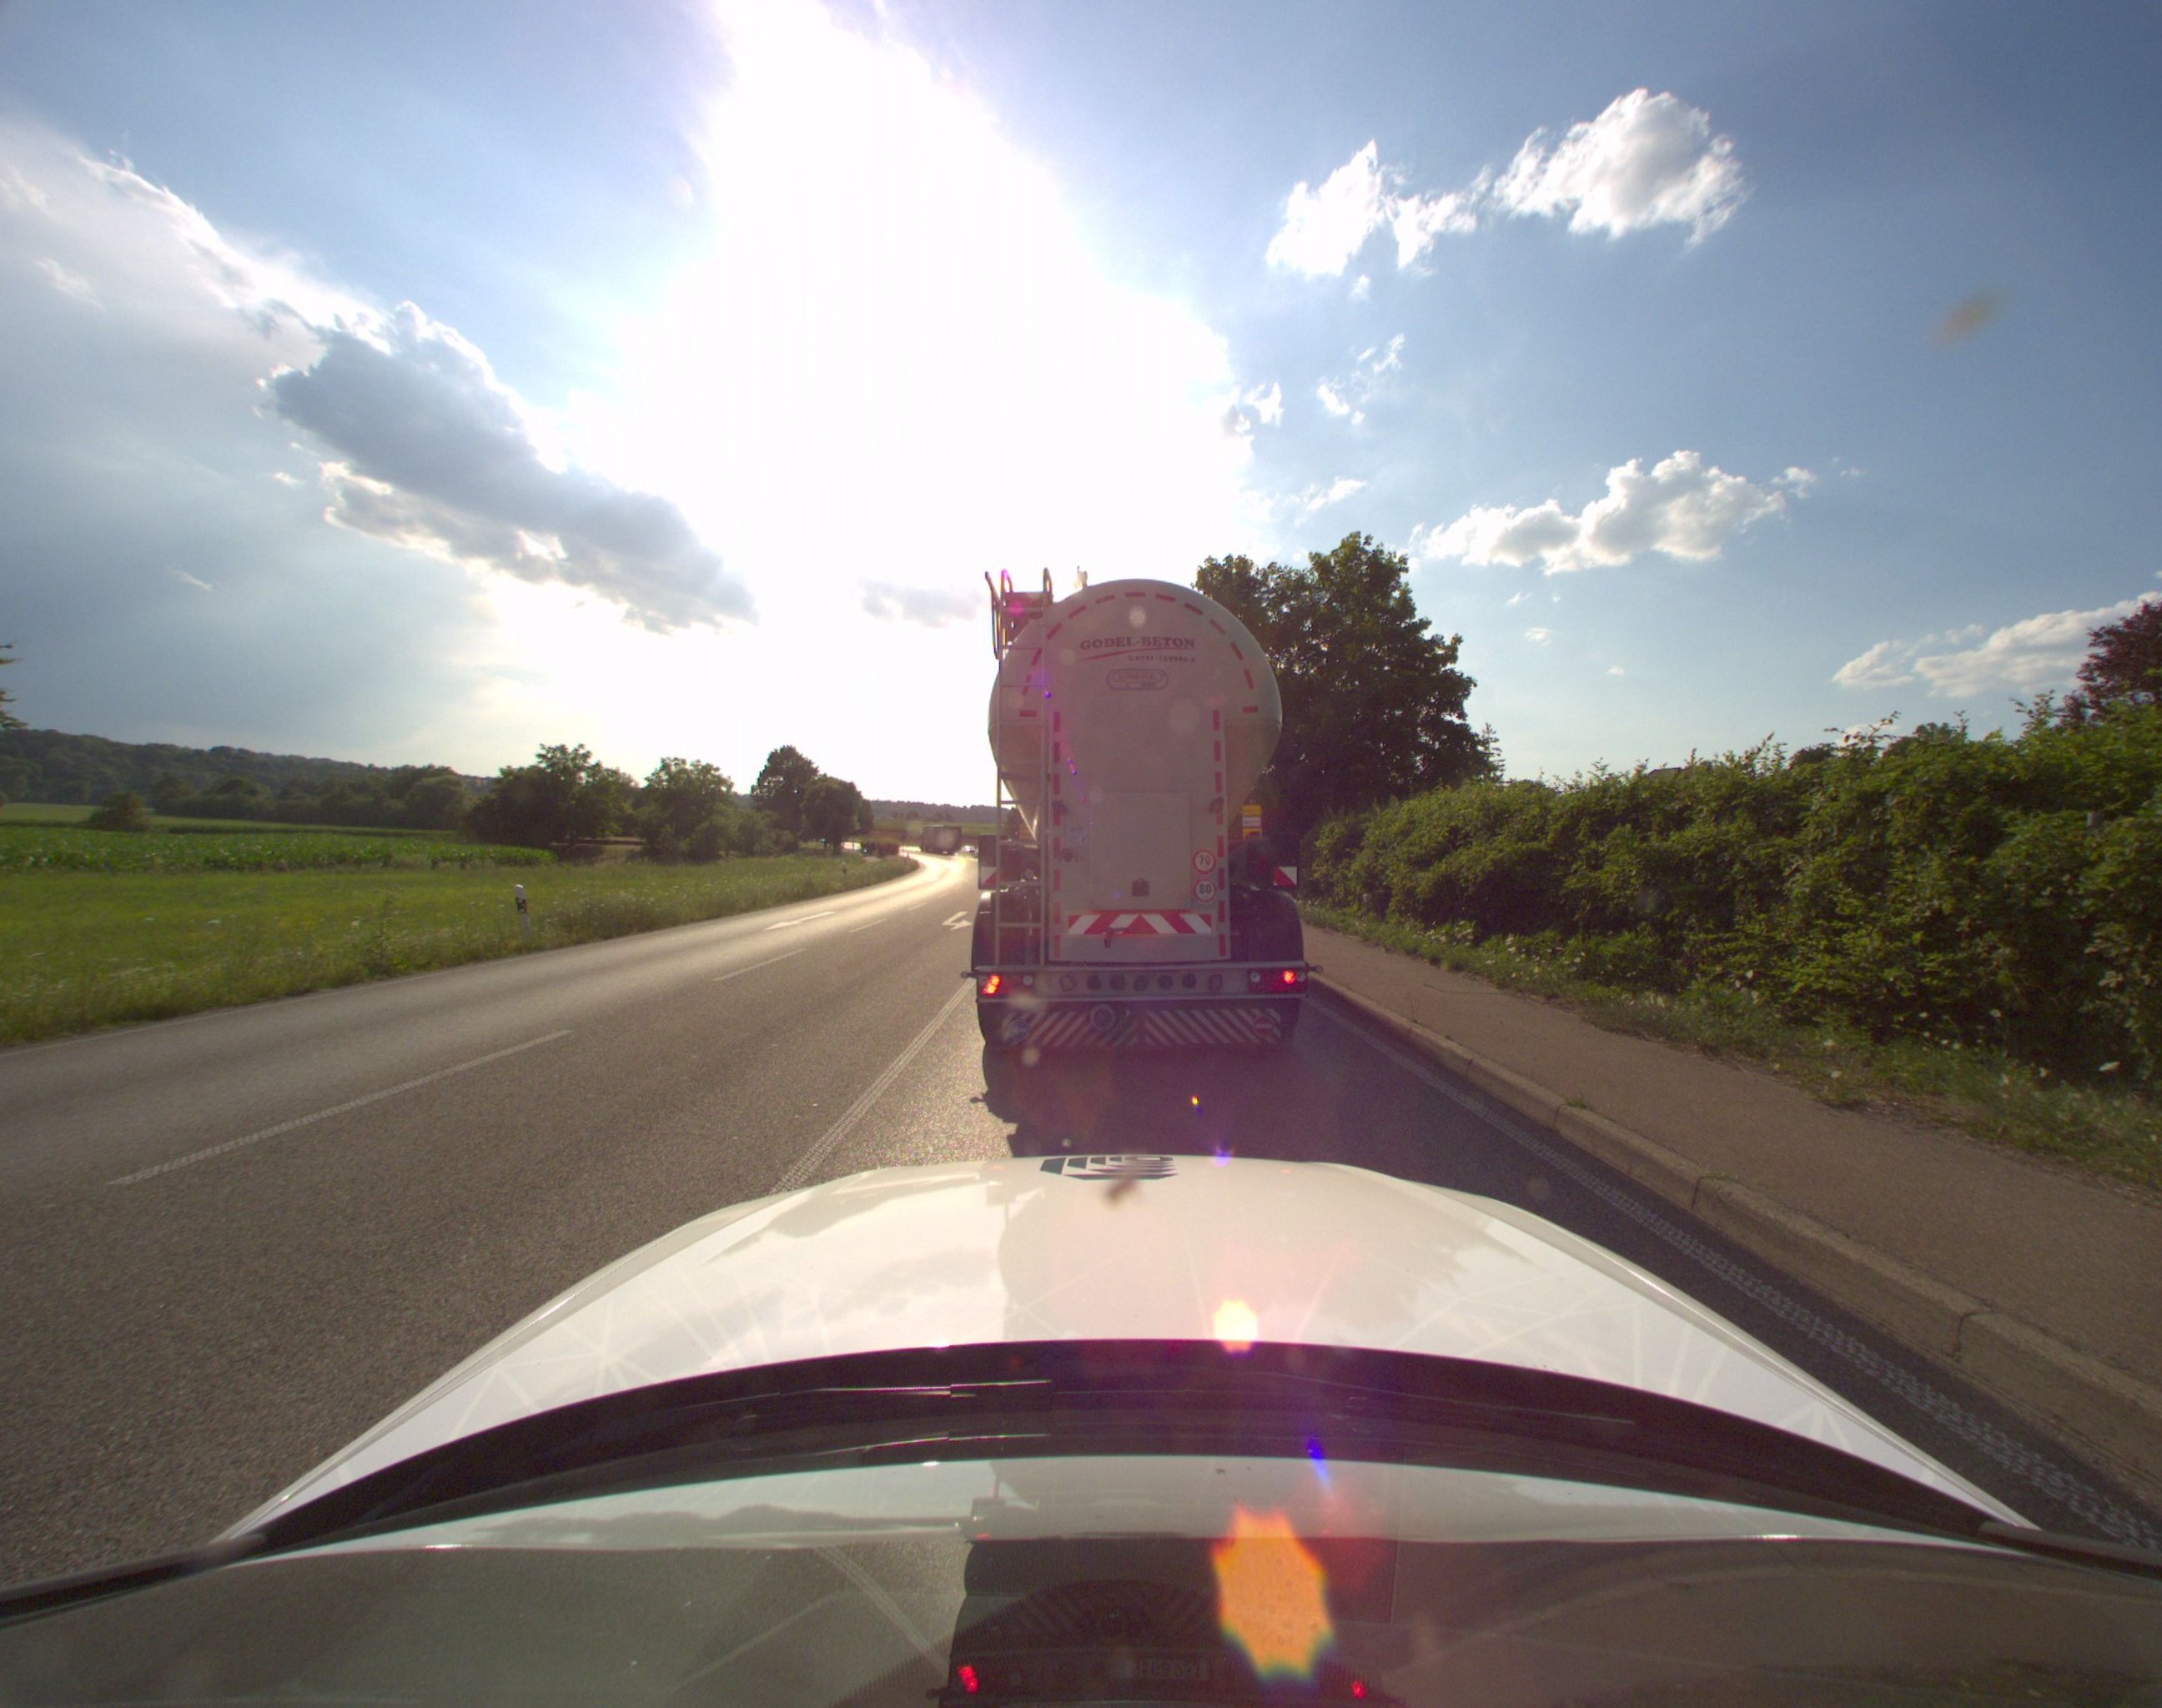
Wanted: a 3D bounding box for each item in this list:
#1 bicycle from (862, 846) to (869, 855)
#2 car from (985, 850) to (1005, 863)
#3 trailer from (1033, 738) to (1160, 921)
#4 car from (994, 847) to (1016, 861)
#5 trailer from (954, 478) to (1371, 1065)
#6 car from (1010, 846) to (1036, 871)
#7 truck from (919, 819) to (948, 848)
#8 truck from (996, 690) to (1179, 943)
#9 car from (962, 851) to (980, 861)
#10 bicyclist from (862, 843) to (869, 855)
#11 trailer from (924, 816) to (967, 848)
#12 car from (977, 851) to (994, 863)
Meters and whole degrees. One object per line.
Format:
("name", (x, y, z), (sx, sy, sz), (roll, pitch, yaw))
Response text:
("bicycle", (-26.298, -0.395, 99.466), (0.634, 1.074, 1.667), (2, 0, -6))
("car", (-9.331, 0.297, 88.113), (1.583, 1.341, 3.407), (1, 0, -16))
("trailer", (0.623, -0.608, 26.413), (2.943, 4.315, 14.182), (1, 0, 2))
("car", (-7.661, -0.018, 81.858), (1.583, 1.341, 3.407), (1, 0, -16))
("trailer", (0.281, -0.577, 10.625), (2.904, 4.006, 9.916), (0, 0, -4))
("car", (-4.843, 0.338, 67.468), (1.861, 2.013, 3.708), (0, 0, -9))
("truck", (-23.138, -3.177, 127.833), (3.388, 4.350, 5.665), (1, 0, -21))
("truck", (-0.013, -0.611, 15.052), (2.904, 4.006, 4.054), (0, 0, -4))
("car", (-13.891, 0.247, 102.624), (1.773, 1.205, 3.407), (-3, 1, -16))
("bicyclist", (-26.277, -0.608, 99.357), (0.634, 1.419, 0.689), (2, 0, -7))
("trailer", (-20.203, -3.142, 120.237), (3.388, 4.350, 14.192), (1, 0, -21))
("car", (-11.312, 0.381, 96.293), (1.583, 1.341, 3.407), (1, 0, -16))
